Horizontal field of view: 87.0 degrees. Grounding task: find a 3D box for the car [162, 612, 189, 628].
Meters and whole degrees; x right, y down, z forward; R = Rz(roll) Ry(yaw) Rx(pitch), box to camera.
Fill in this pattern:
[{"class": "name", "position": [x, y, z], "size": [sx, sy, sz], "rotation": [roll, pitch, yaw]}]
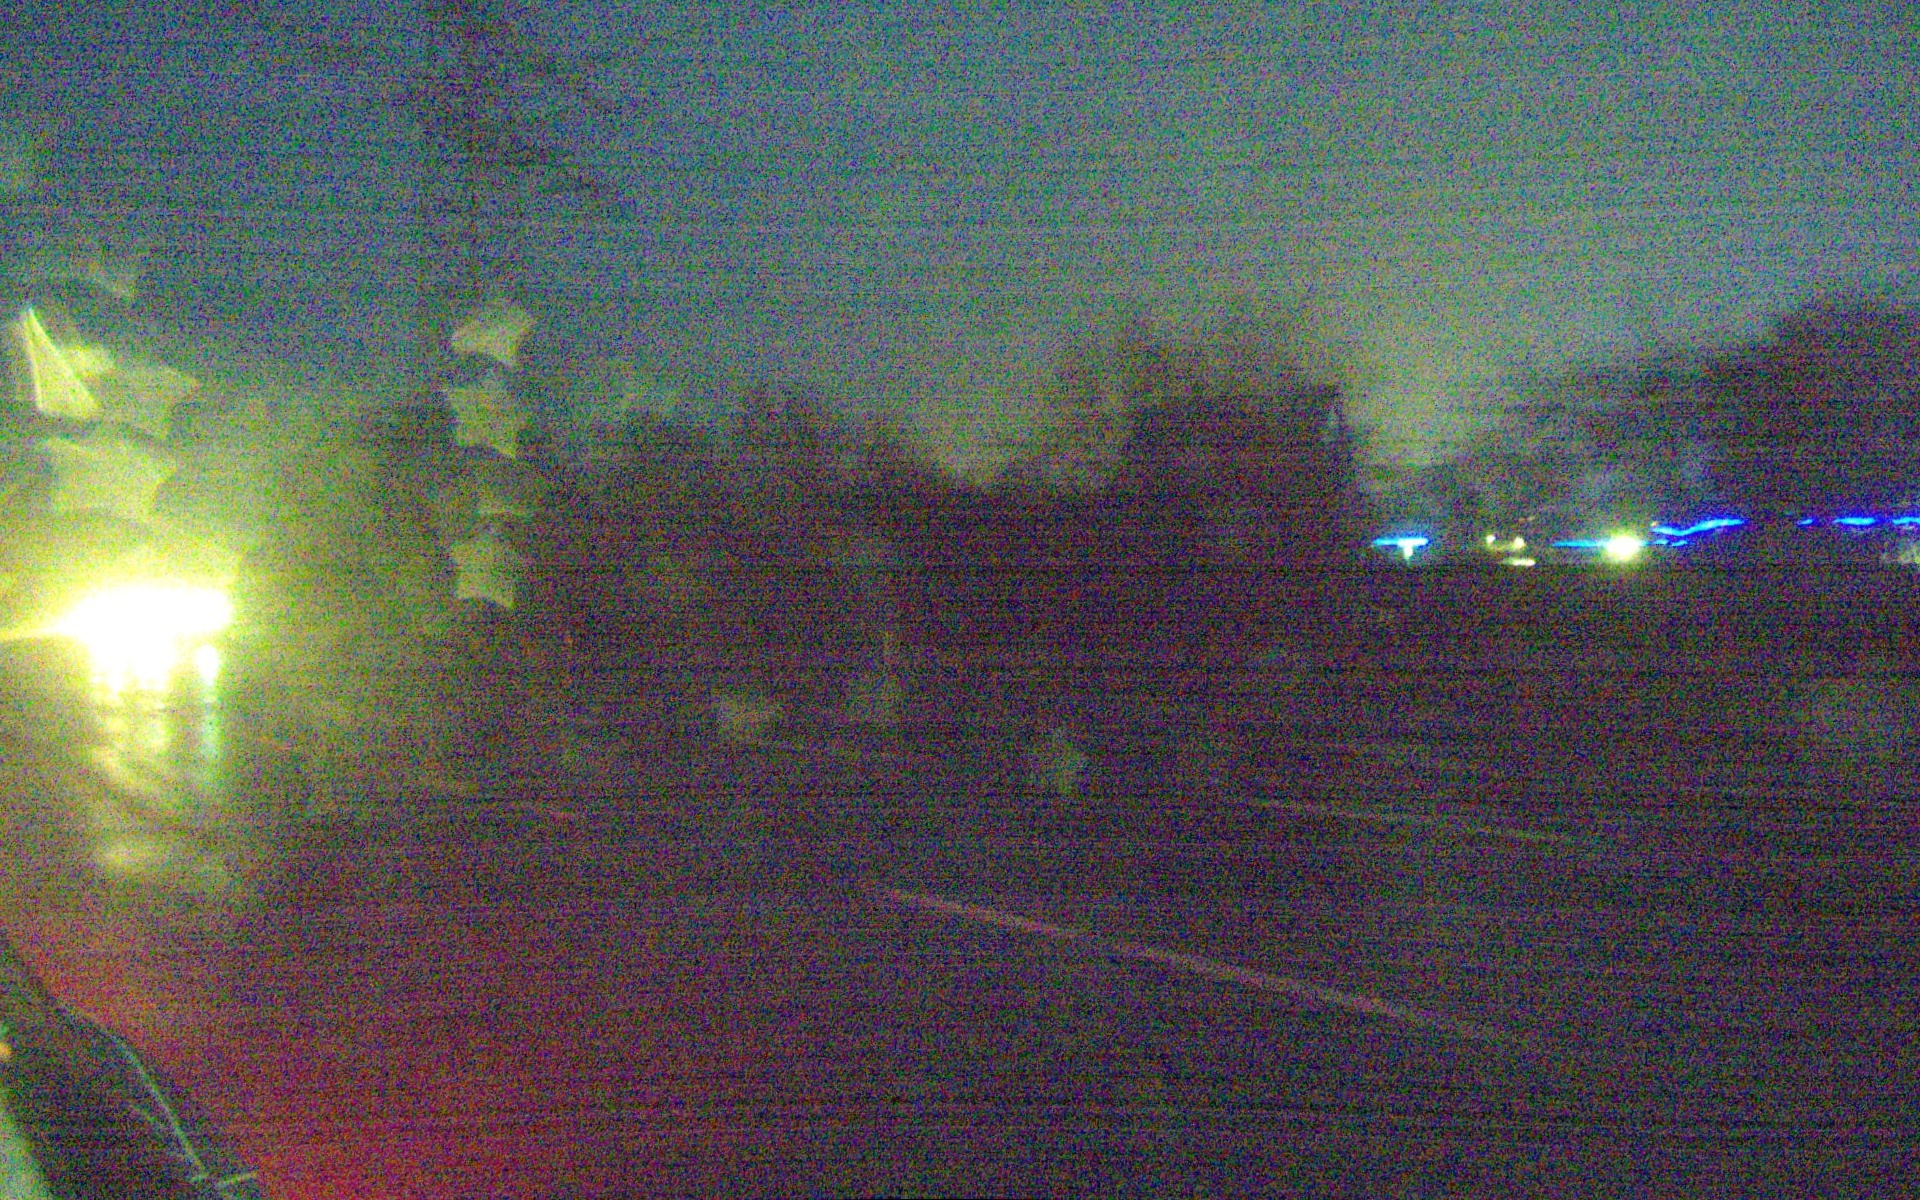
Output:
[{"class": "car", "position": [-93.376, 2.327, 120.508], "size": [1.834, 1.760, 4.978], "rotation": [-1, 1, -30]}]
